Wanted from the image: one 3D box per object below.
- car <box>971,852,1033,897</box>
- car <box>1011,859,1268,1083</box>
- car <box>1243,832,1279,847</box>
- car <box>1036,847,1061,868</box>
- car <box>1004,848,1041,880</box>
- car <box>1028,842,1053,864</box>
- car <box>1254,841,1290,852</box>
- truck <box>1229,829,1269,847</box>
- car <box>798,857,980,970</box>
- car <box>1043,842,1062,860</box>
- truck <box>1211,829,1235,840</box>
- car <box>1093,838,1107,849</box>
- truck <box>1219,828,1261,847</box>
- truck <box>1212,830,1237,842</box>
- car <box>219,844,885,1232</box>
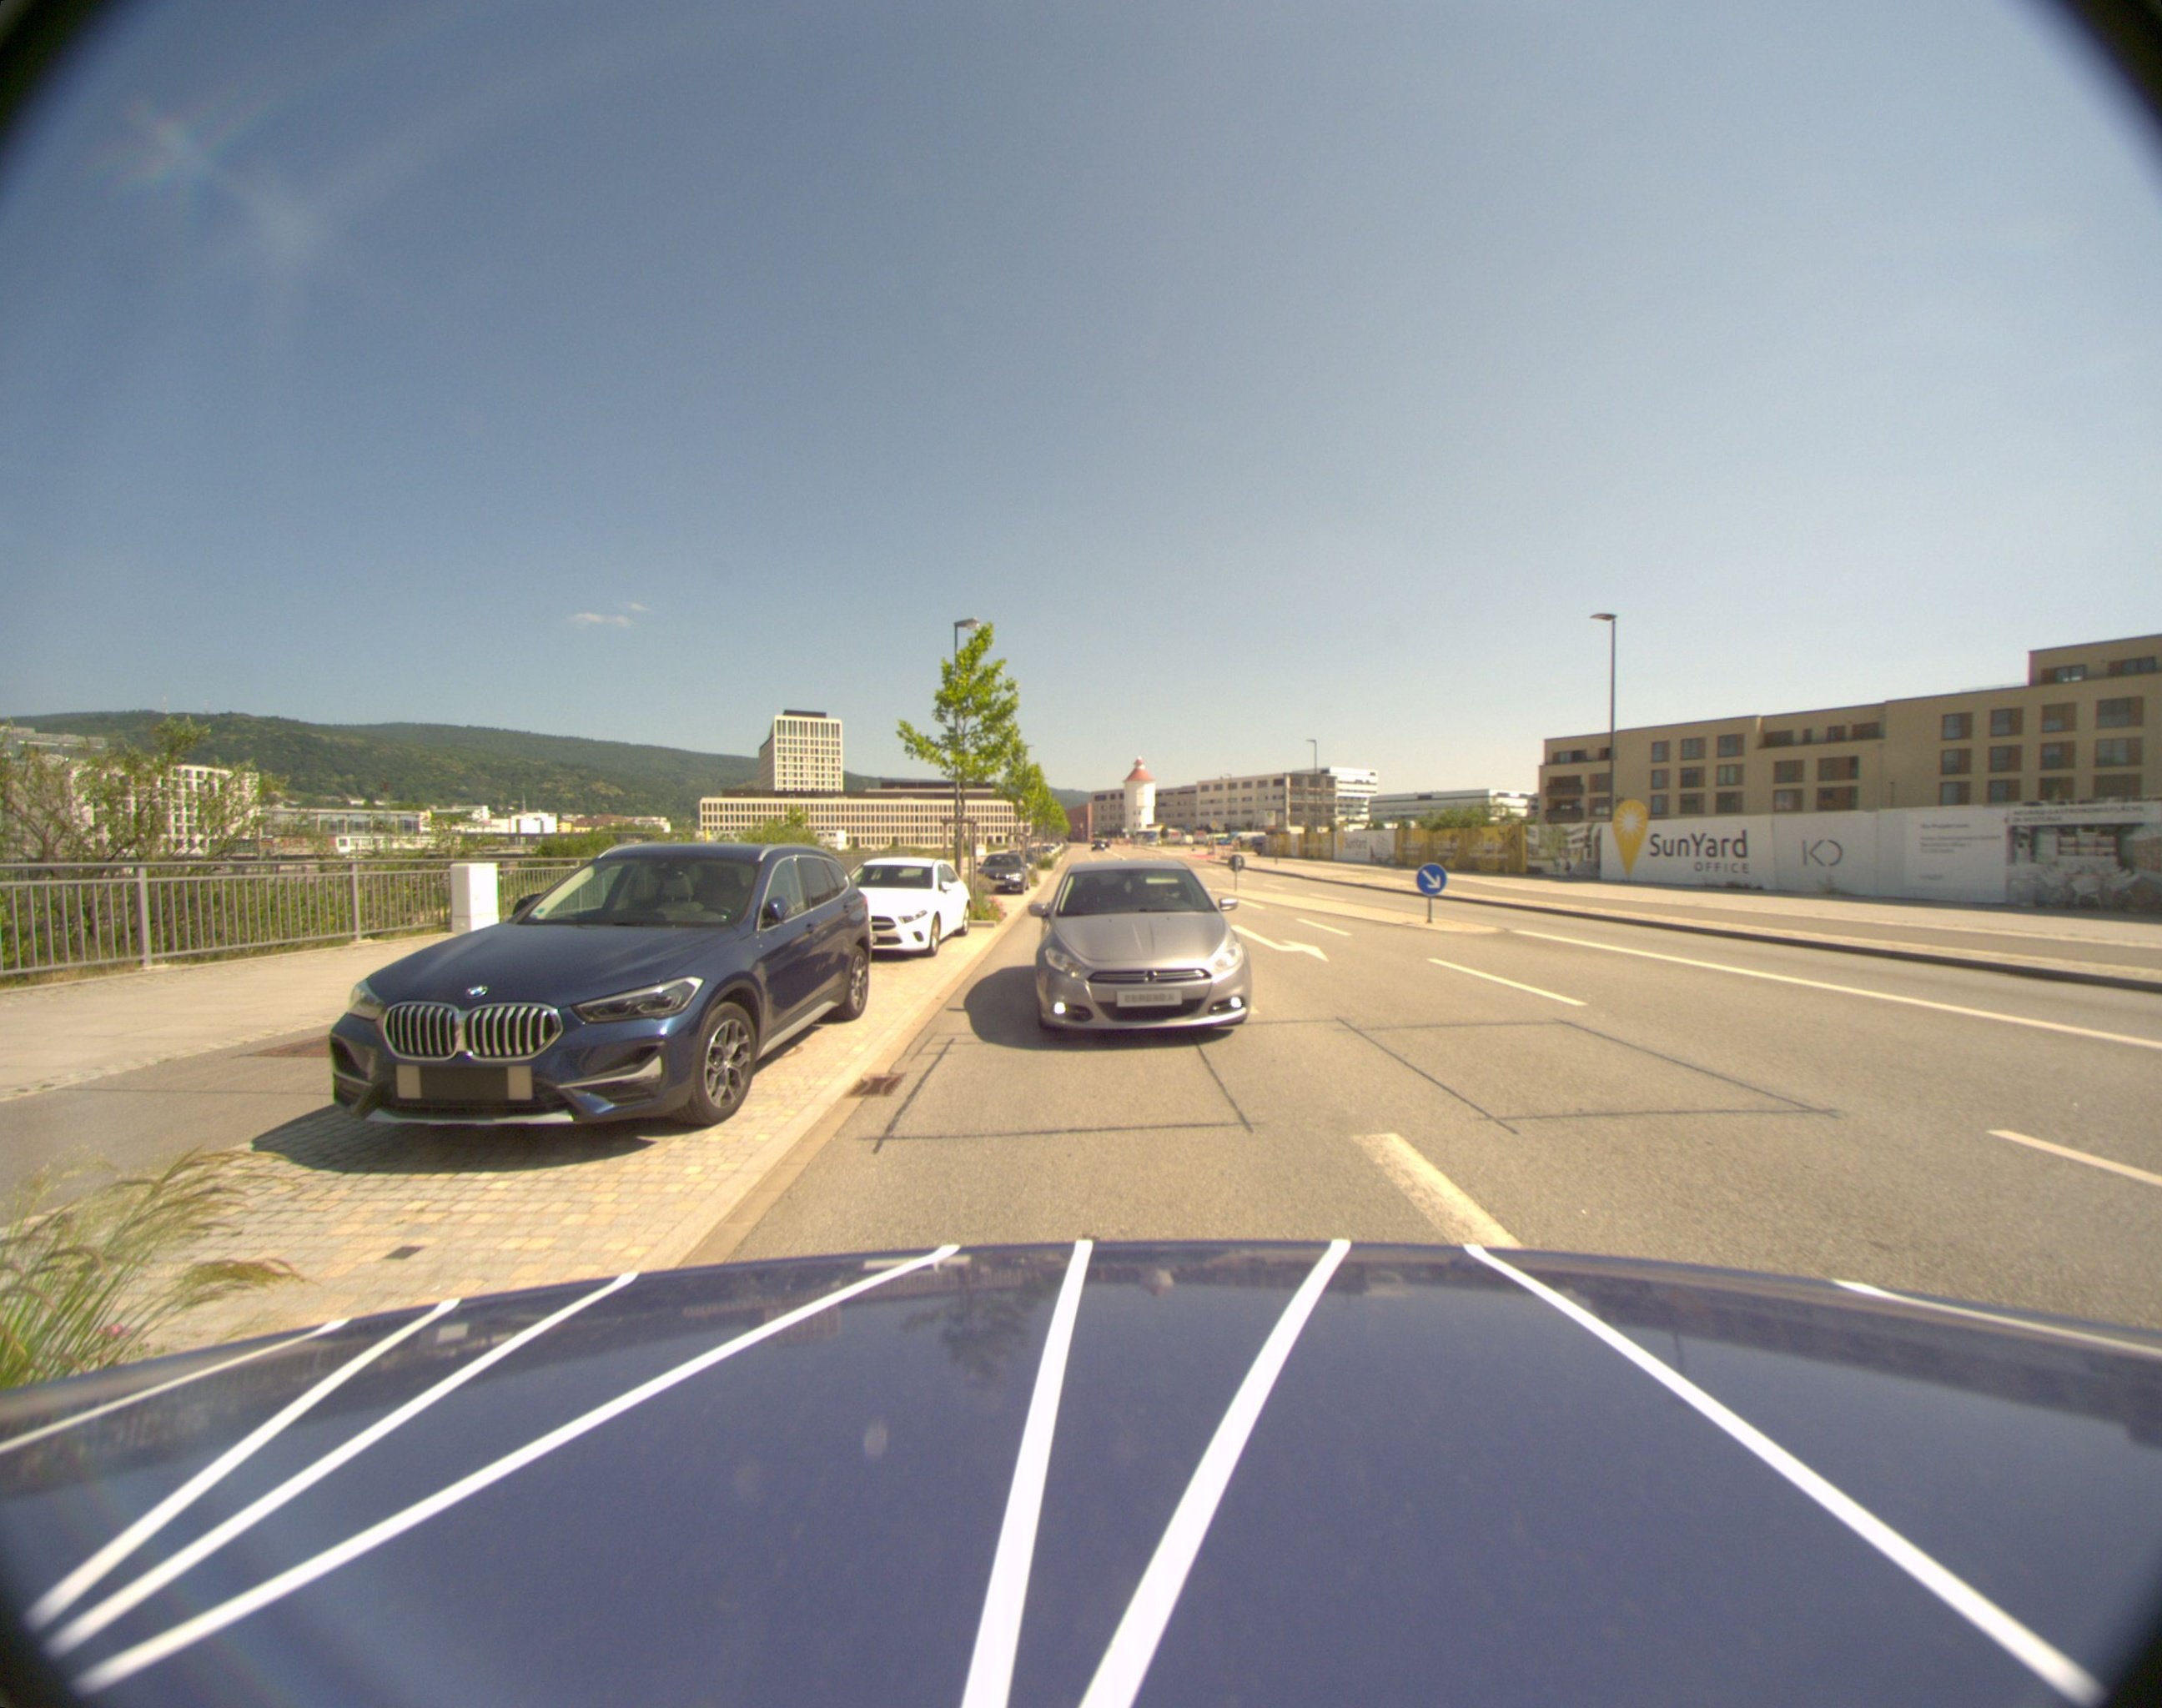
[{"bbox_3d":[-2.806,0.679,27.805,1.808,1.424,3.915,2,1,0],"label":"car"},{"bbox_3d":[0.466,0.878,7.750,1.820,1.459,4.346,-3,1,1],"label":"car"},{"bbox_3d":[22.855,-1.872,96.536,3.930,1.708,1.891,-3,1,-5],"label":"car"},{"bbox_3d":[-2.166,0.226,50.595,1.490,1.302,3.154,2,1,0],"label":"car"},{"bbox_3d":[-2.911,0.462,37.973,1.569,1.465,3.006,2,1,0],"label":"car"},{"bbox_3d":[-3.225,-0.104,61.118,1.768,1.609,3.373,-3,1,0],"label":"car"},{"bbox_3d":[19.644,-0.760,78.108,3.359,0.947,1.293,-2,1,3],"label":"car"},{"bbox_3d":[23.352,-2.260,105.880,5.005,2.215,1.999,-2,1,-1],"label":"truck"},{"bbox_3d":[-2.890,0.821,12.441,1.710,1.366,4.270,2,1,2],"label":"car"},{"bbox_3d":[-2.628,-0.284,70.369,1.526,1.482,3.504,-3,1,0],"label":"car"},{"bbox_3d":[34.576,-4.686,185.342,5.412,2.461,1.999,-2,1,-2],"label":"truck"},{"bbox_3d":[2.712,-1.448,108.878,1.819,1.458,4.347,-3,1,2],"label":"car"},{"bbox_3d":[23.712,-2.464,113.285,5.633,2.461,1.999,-3,1,-4],"label":"truck"},{"bbox_3d":[33.362,-4.186,177.304,5.333,2.461,1.999,-3,1,-4],"label":"truck"},{"bbox_3d":[-2.883,0.793,5.493,1.808,1.674,4.270,1,1,0],"label":"car"}]
